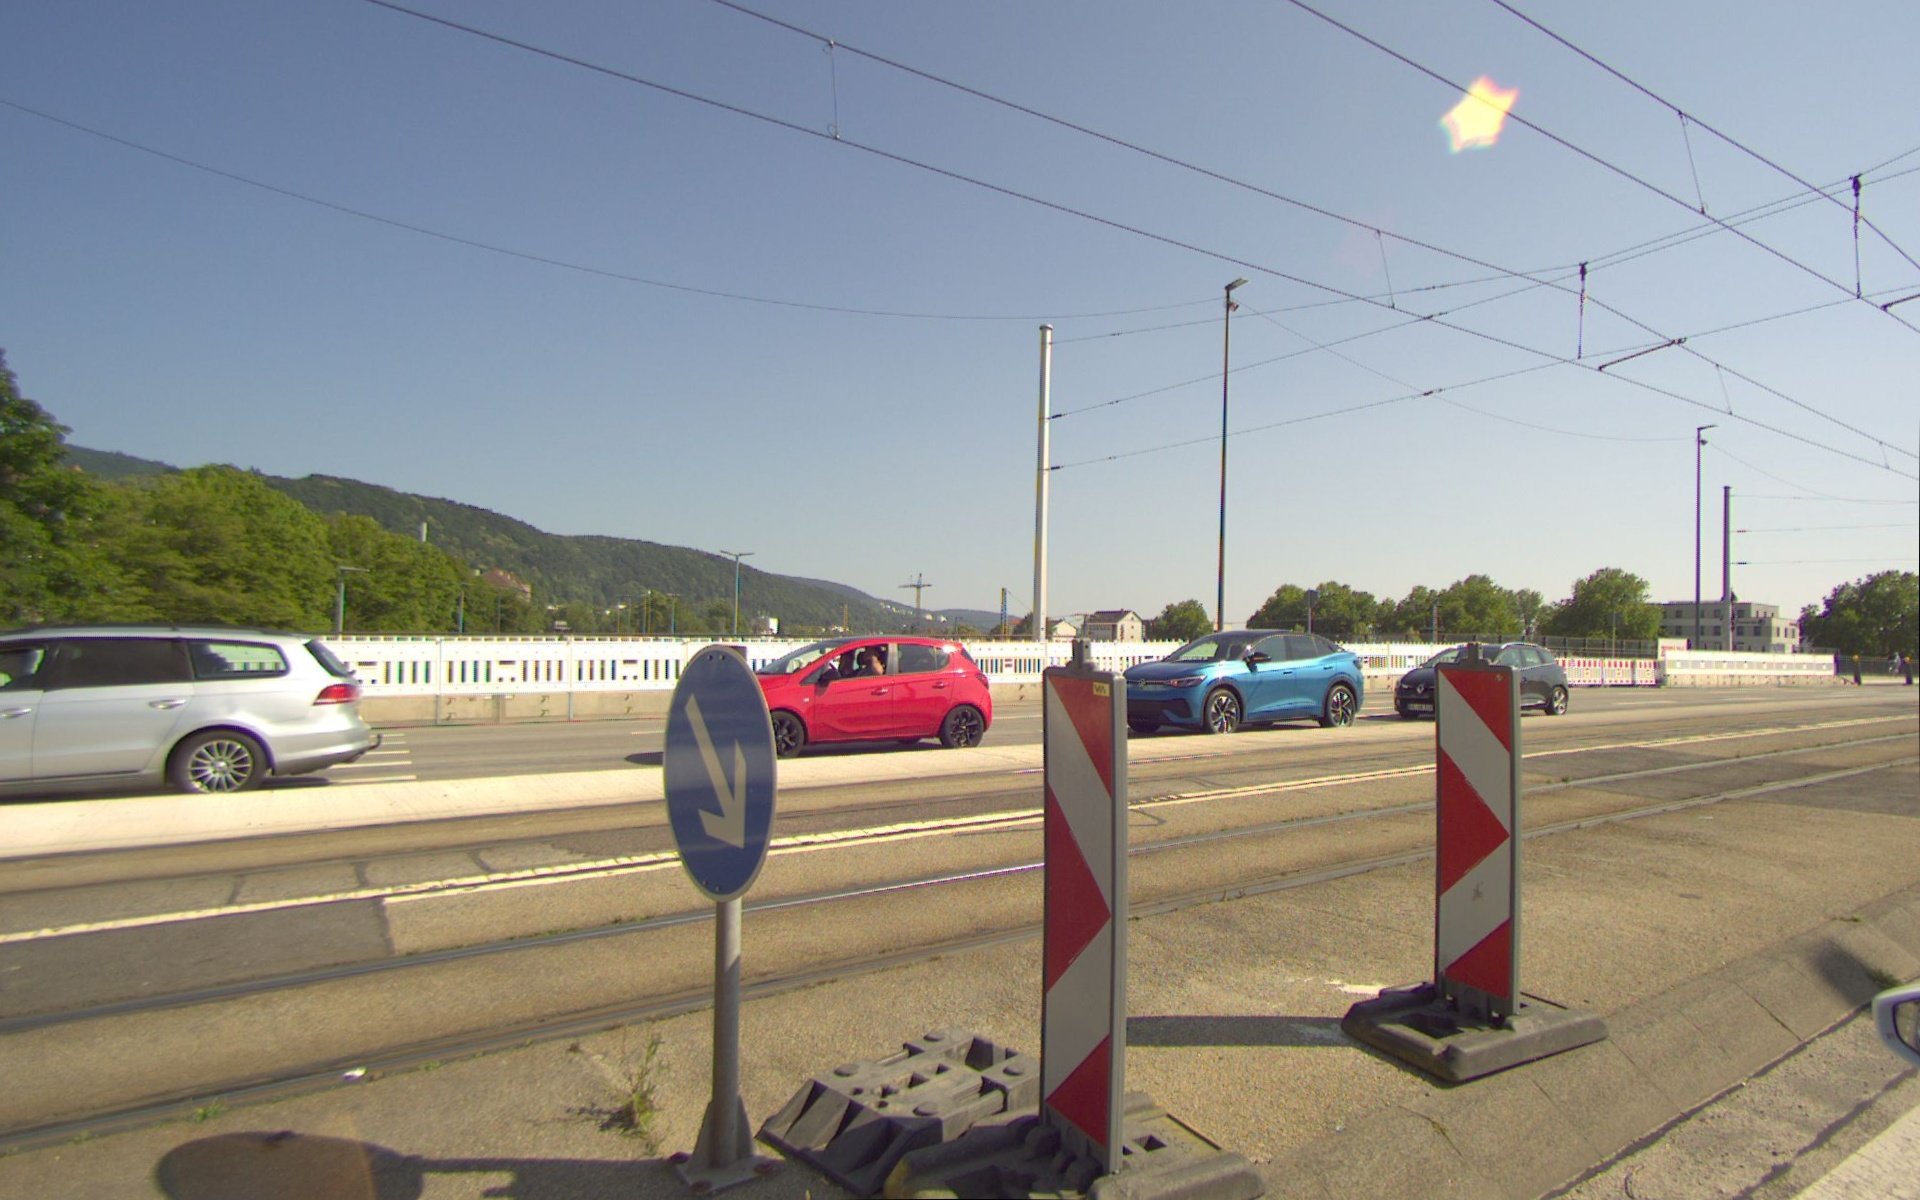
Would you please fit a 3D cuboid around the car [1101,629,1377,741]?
[{"bbox_3d":[4.495,1.287,15.965,4.506,1.570,1.661,2,-3,-32],"label":"car"}]

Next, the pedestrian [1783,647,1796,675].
[{"bbox_3d":[53.012,3.895,64.220,0.468,1.716,0.492,3,-1,-32],"label":"pedestrian"}]

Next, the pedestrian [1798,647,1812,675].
[{"bbox_3d":[53.437,3.870,63.525,0.468,1.716,0.492,3,-1,-32],"label":"pedestrian"}]

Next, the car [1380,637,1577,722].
[{"bbox_3d":[10.160,1.510,19.596,4.131,1.520,1.498,2,-4,-32],"label":"car"}]

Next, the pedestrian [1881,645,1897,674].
[{"bbox_3d":[61.922,3.941,66.948,0.744,1.918,0.630,2,-1,-32],"label":"pedestrian"}]

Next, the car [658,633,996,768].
[{"bbox_3d":[-1.589,1.172,12.553,3.936,1.456,1.525,2,-3,-32],"label":"car"}]

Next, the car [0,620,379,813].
[{"bbox_3d":[-7.540,0.923,8.381,4.592,1.456,1.629,2,-3,-32],"label":"car"}]
